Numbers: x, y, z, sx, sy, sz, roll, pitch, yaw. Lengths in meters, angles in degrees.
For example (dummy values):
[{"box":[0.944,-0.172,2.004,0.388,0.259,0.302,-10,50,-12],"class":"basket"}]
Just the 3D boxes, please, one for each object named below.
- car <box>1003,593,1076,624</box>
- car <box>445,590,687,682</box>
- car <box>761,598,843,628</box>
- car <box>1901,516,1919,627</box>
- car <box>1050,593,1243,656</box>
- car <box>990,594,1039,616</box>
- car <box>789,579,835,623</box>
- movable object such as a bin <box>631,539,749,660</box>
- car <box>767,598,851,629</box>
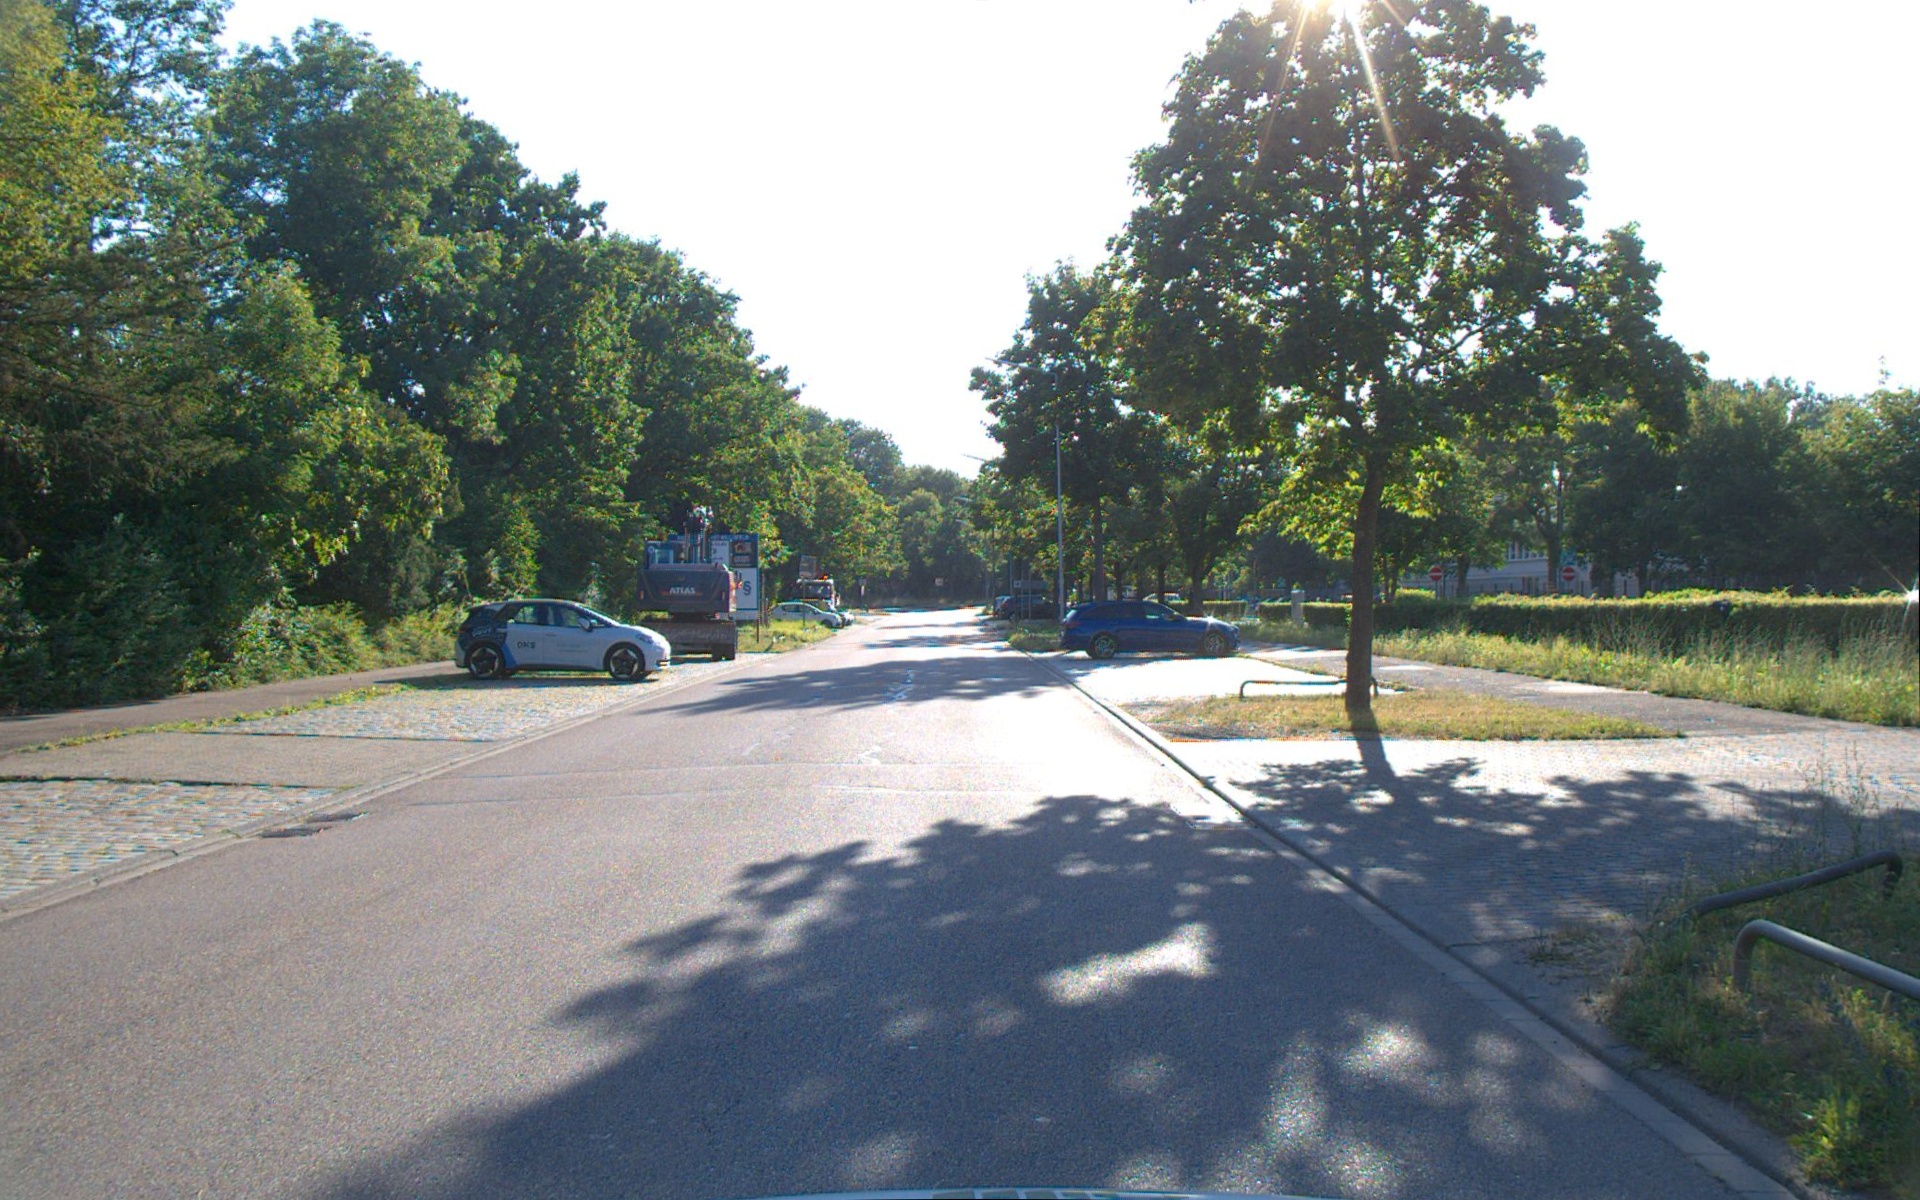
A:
[{"box":[4.743,0.505,99.057,4.270,1.759,1.999,1,0,-2],"class":"car"},{"box":[-7.773,0.690,32.953,4.269,1.574,2.000,3,0,0],"class":"car"},{"box":[-8.486,0.689,88.529,4.276,1.505,1.997,-1,0,-7],"class":"car"},{"box":[17.200,-0.476,25.480,4.268,1.735,2.000,-1,1,1],"class":"car"},{"box":[4.742,0.612,42.592,4.742,1.505,2.000,-1,0,0],"class":"car"},{"box":[4.463,0.401,135.545,3.906,1.710,1.999,-1,0,-2],"class":"car"},{"box":[-8.575,0.056,95.295,2.469,2.428,4.366,-1,0,-7],"class":"car"},{"box":[-7.381,-0.023,45.808,2.783,3.122,4.922,-1,0,-5],"class":"movable object such as a bin"},{"box":[-7.843,0.687,85.945,4.276,1.505,1.997,-1,0,-7],"class":"car"}]
